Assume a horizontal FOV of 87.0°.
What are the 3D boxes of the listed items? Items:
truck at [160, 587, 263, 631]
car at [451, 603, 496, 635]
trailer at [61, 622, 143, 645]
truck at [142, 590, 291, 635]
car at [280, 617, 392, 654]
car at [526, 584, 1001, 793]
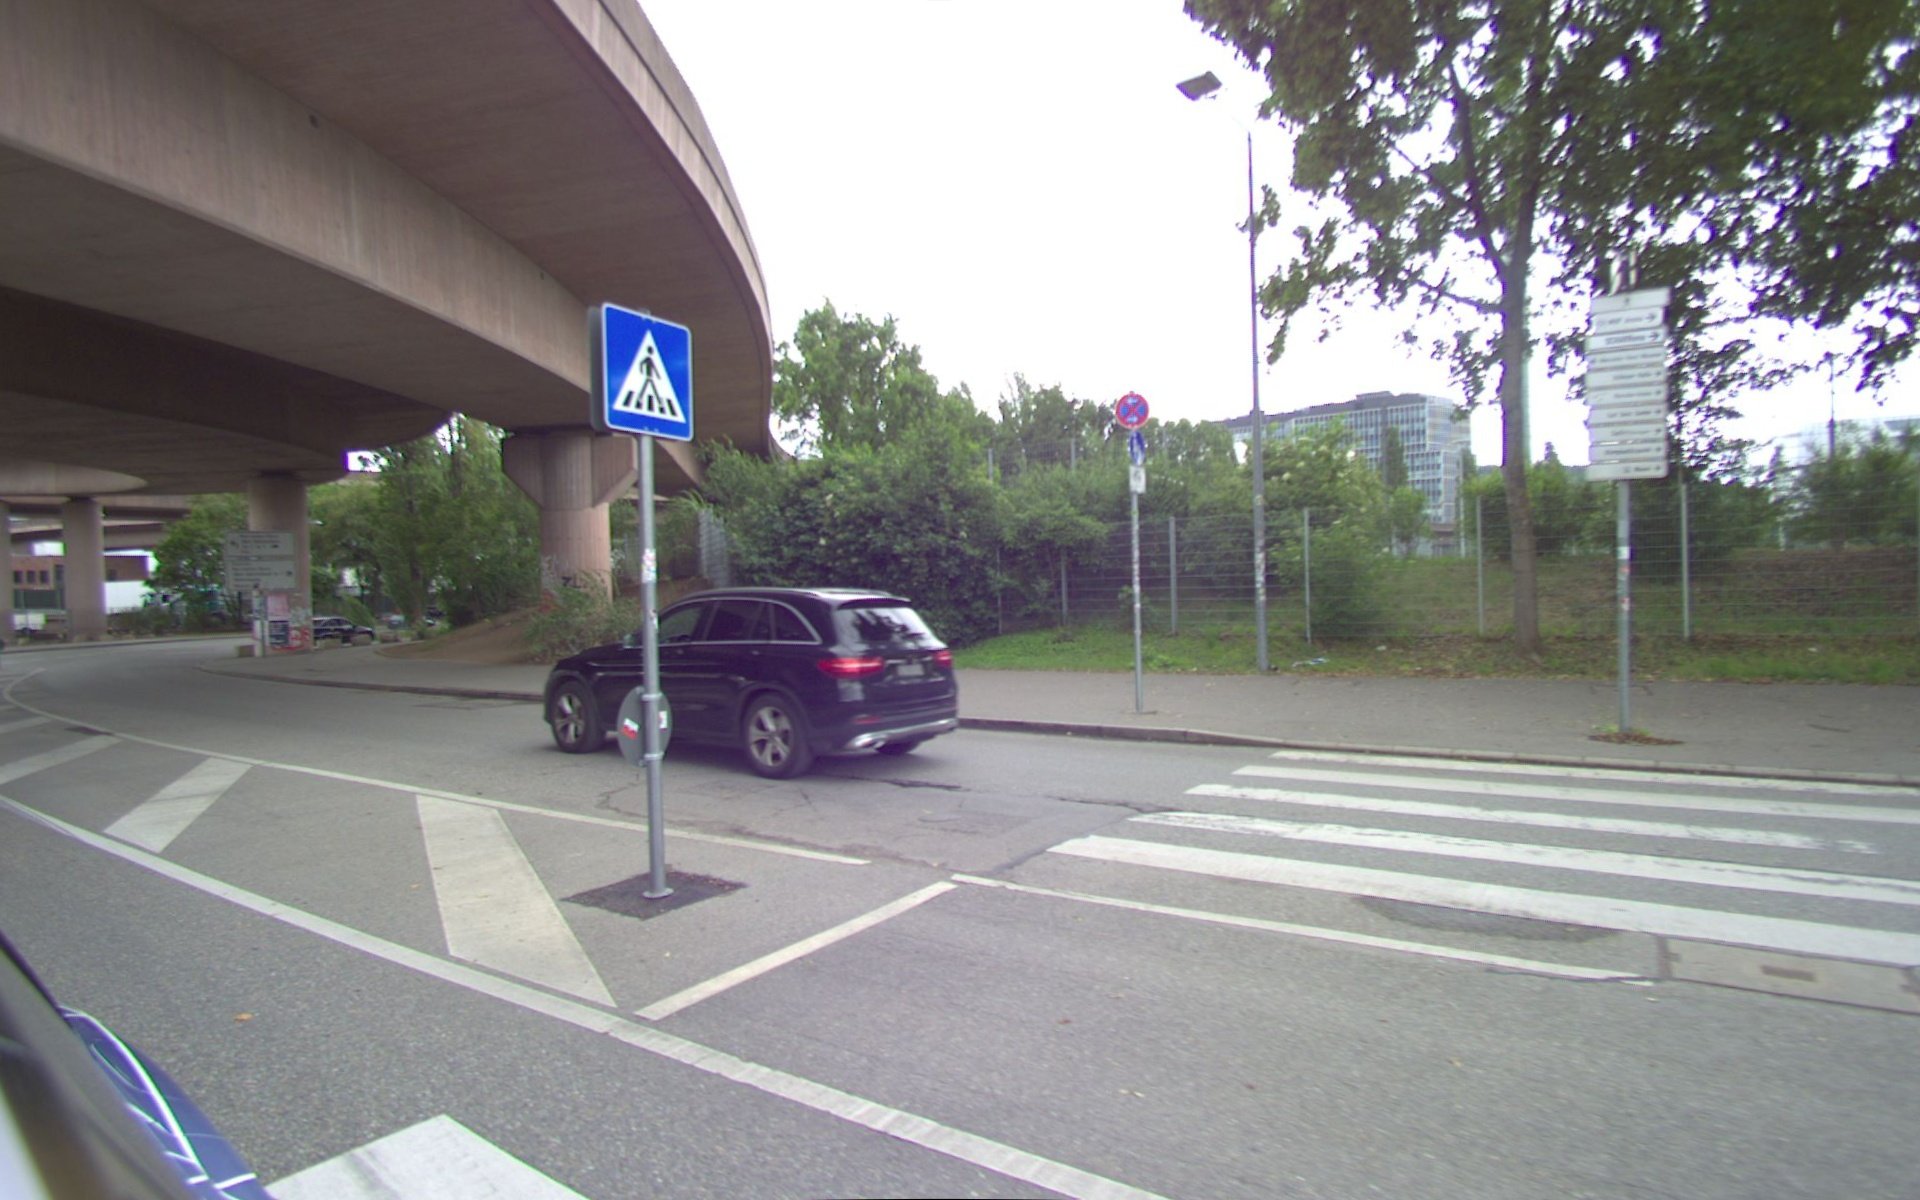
[{"bbox_3d":[-61.326,0.685,83.041,2.266,3.434,6.337,0,1,35],"label":"truck"},{"bbox_3d":[-32.069,1.202,66.613,1.826,1.931,4.986,-2,1,-35],"label":"car"},{"bbox_3d":[-57.481,2.233,67.897,1.586,1.341,4.375,-1,1,6],"label":"trailer"},{"bbox_3d":[-63.060,0.953,86.240,2.264,3.524,10.103,0,1,32],"label":"truck"},{"bbox_3d":[-29.446,1.630,47.939,1.807,1.441,4.762,-4,0,8],"label":"car"},{"bbox_3d":[-2.022,0.715,9.779,4.538,1.586,1.824,-2,0,34],"label":"car"}]
